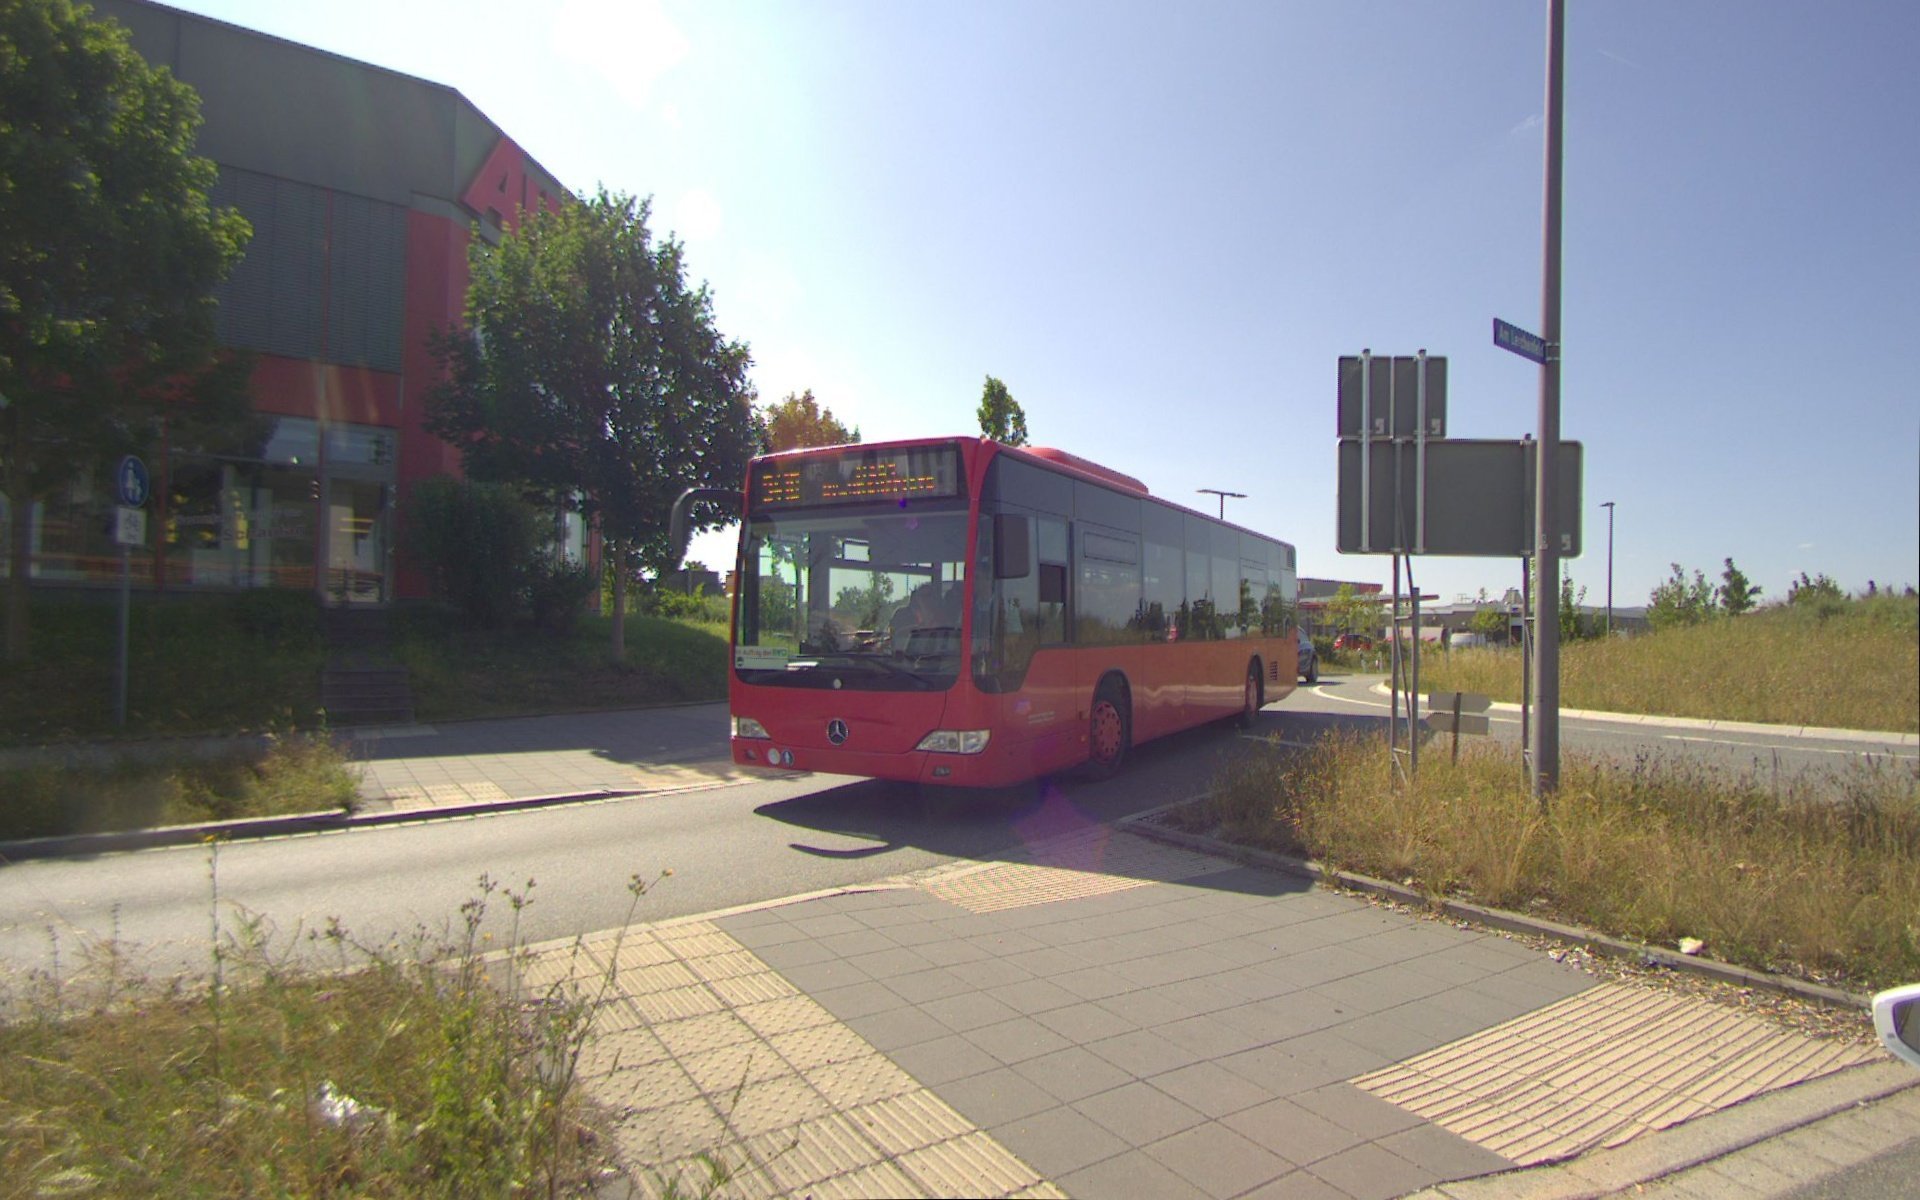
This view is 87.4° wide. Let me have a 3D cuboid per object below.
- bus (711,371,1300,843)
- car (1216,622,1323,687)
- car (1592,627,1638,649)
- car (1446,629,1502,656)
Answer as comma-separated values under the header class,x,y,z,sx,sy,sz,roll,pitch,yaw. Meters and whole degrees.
class,x,y,z,sx,sy,sz,roll,pitch,yaw
bus,1.909,0.225,12.831,2.570,3.284,11.863,-1,-2,28
car,8.677,1.482,27.955,1.825,1.657,4.070,-1,-2,32
car,56.712,3.309,86.955,3.958,1.754,1.982,3,-2,-33
car,42.244,3.489,82.573,5.085,2.040,1.981,3,-2,-35
